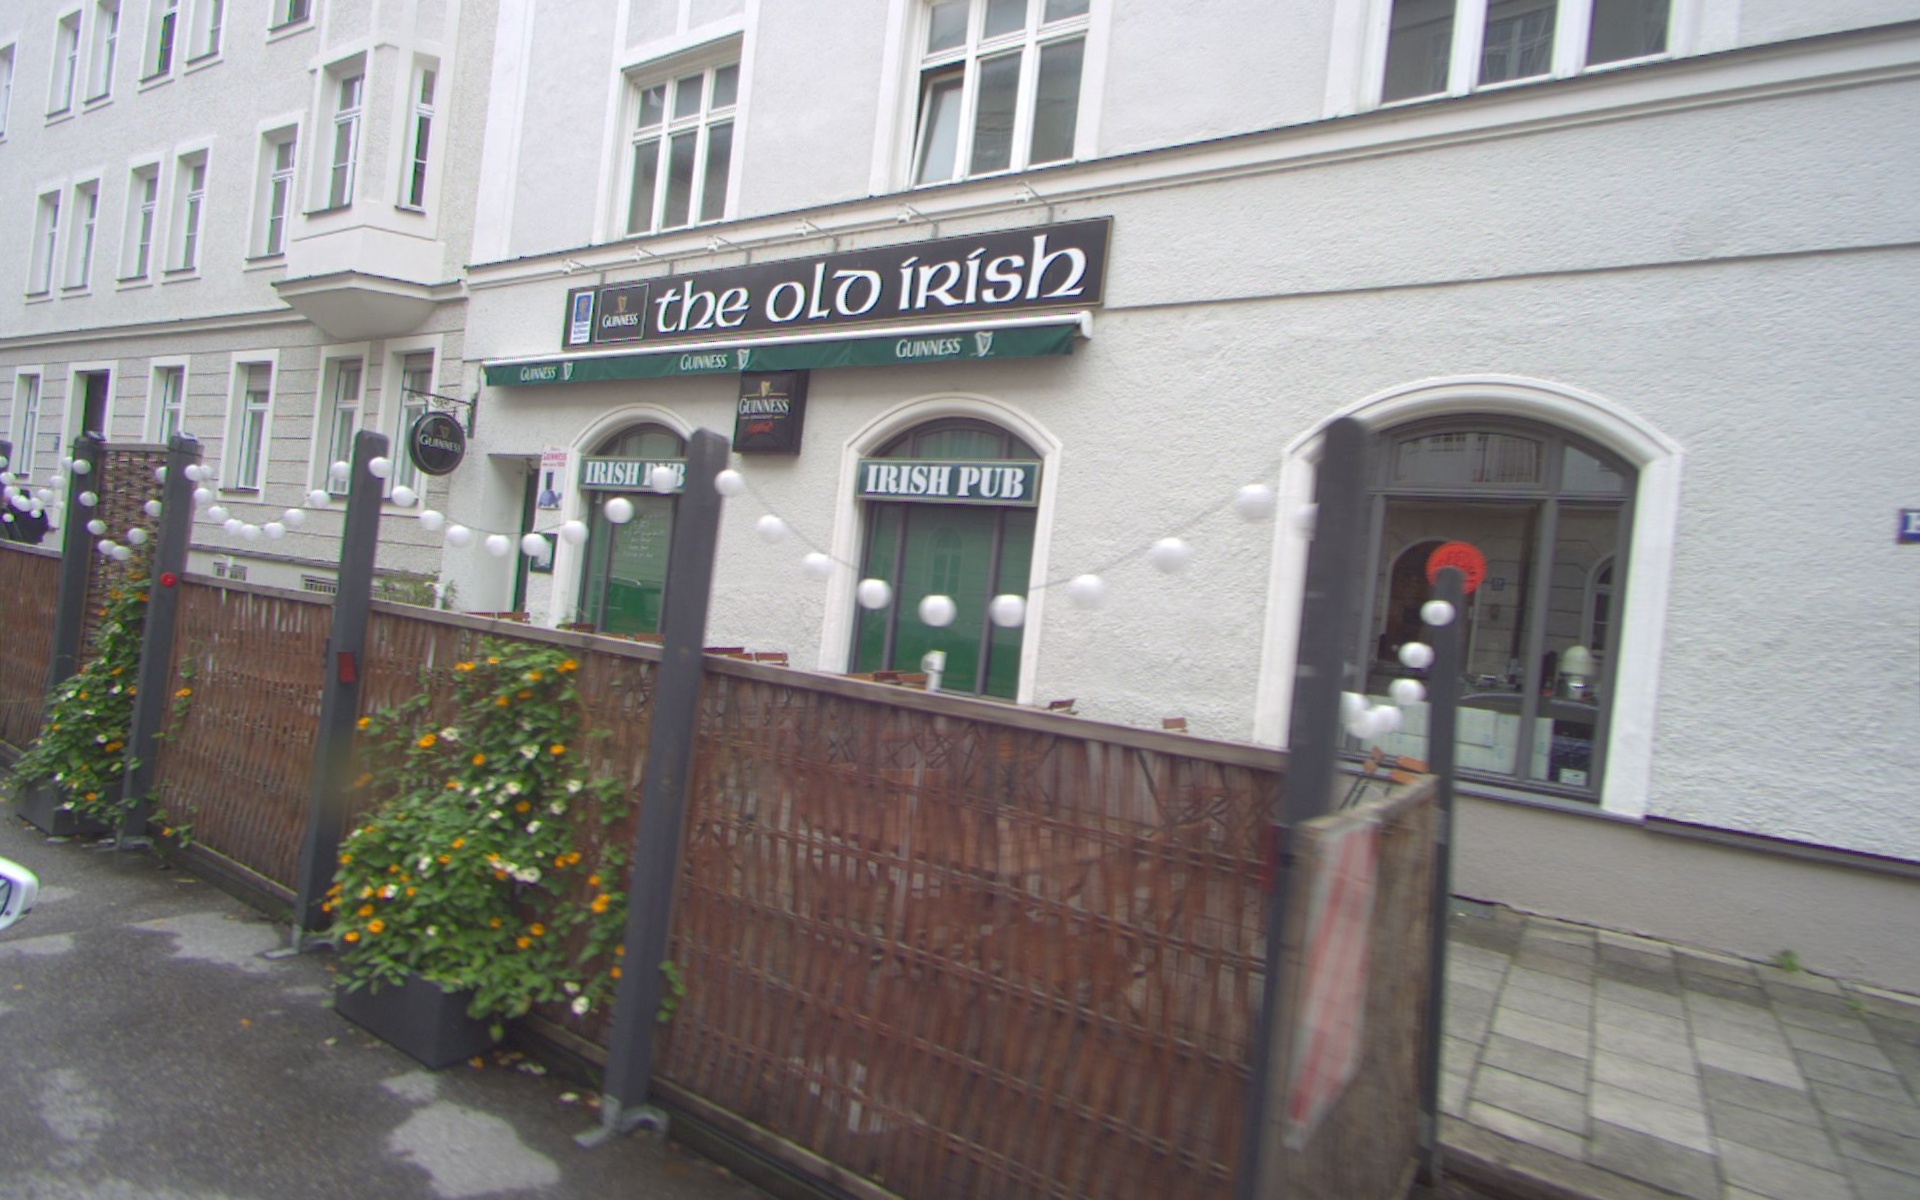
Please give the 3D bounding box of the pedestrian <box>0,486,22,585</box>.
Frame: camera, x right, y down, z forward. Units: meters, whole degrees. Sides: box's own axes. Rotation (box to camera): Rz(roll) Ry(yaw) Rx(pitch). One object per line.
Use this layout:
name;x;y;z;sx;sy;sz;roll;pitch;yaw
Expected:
pedestrian;-18.628;-1.287;19.038;1.092;1.835;0.884;6;0;31

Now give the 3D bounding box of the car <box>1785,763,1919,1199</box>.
car;3.217;1.178;0.998;3.435;1.415;1.671;6;-4;32

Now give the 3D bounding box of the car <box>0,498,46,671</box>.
car;-11.524;-0.394;10.443;4.119;1.695;1.803;6;-1;31

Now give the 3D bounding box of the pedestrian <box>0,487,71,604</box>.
pedestrian;-15.682;-0.916;16.746;1.092;1.808;0.884;6;0;30
